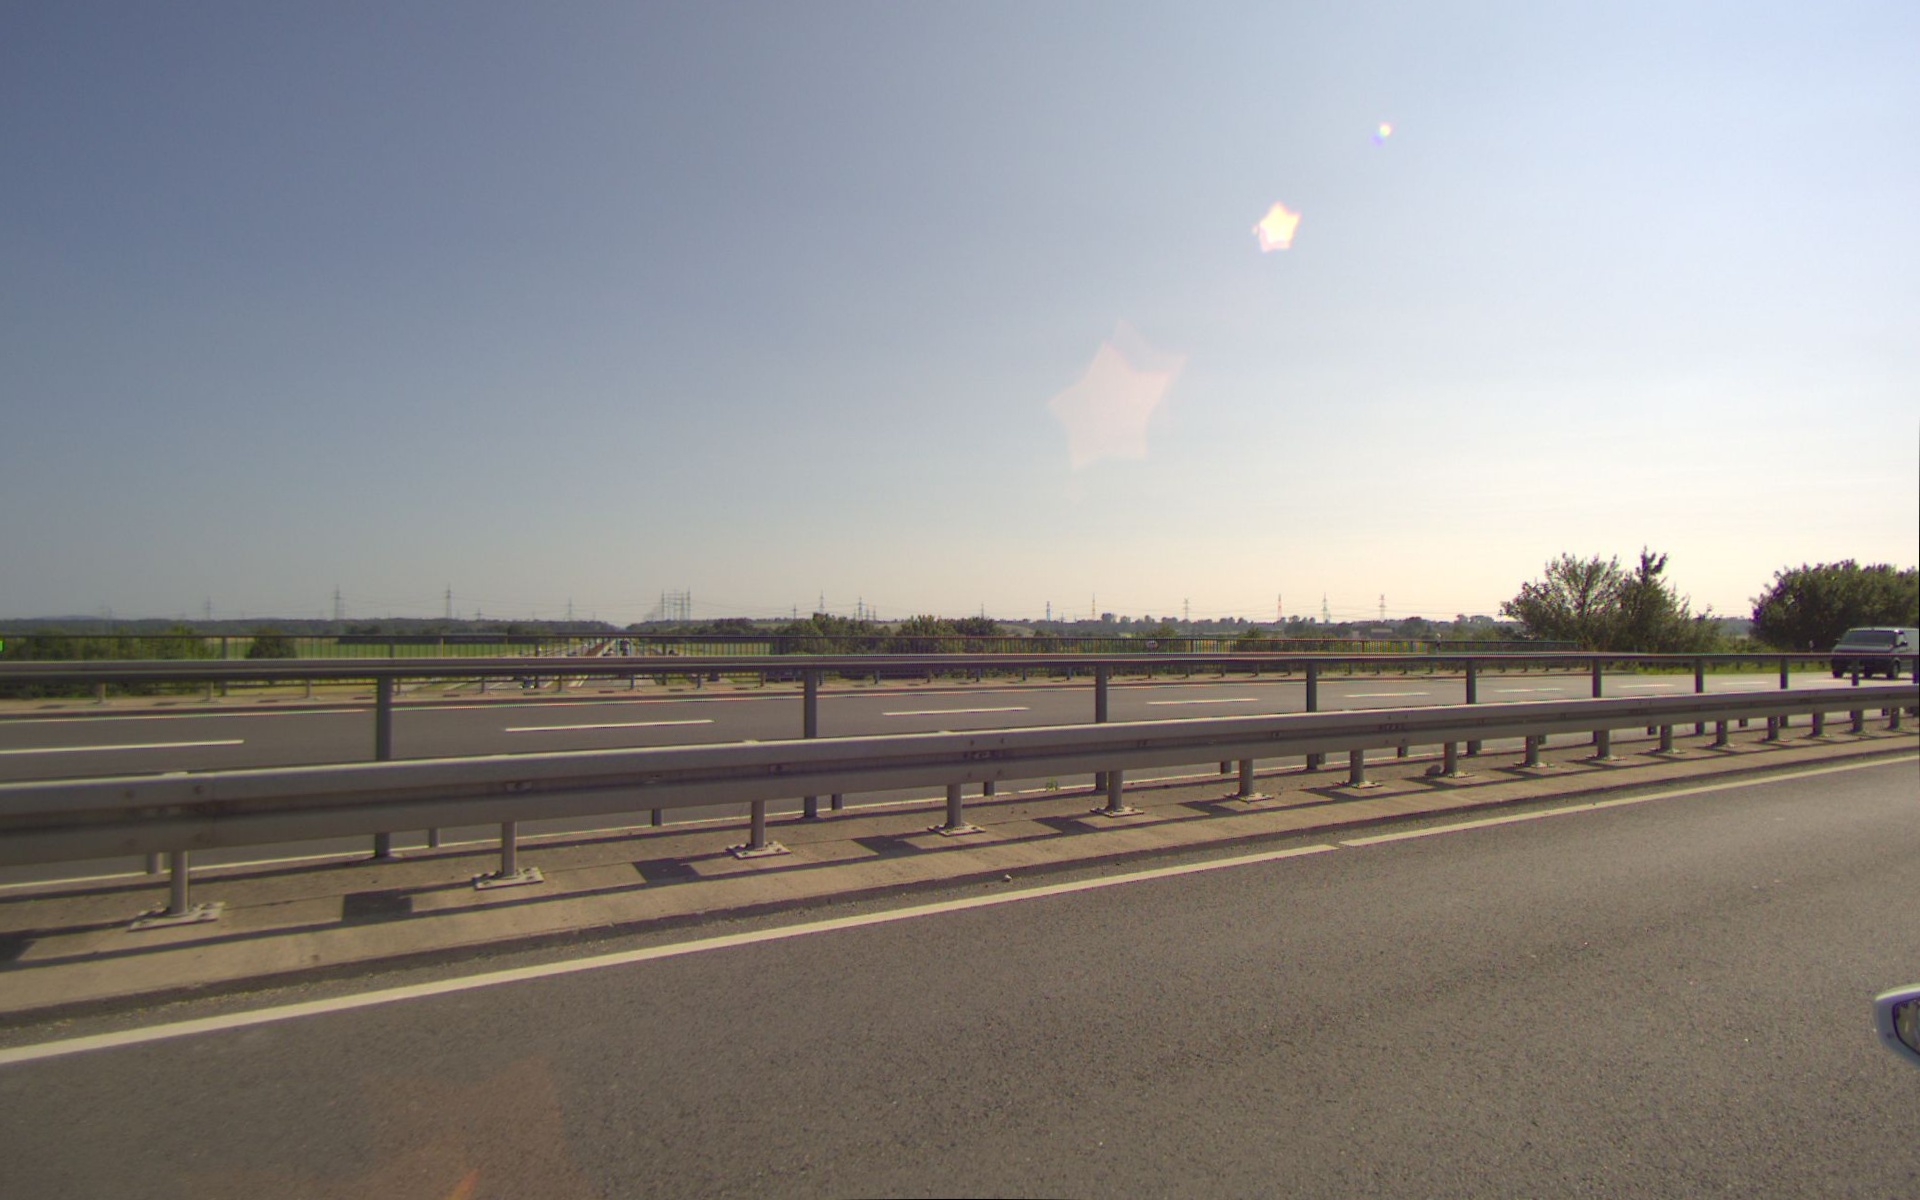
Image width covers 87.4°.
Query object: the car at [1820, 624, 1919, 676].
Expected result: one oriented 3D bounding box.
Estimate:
[{"bbox_3d":[35.563,1.917,39.028,4.366,1.931,1.984,1,-1,-30],"label":"car"}]
